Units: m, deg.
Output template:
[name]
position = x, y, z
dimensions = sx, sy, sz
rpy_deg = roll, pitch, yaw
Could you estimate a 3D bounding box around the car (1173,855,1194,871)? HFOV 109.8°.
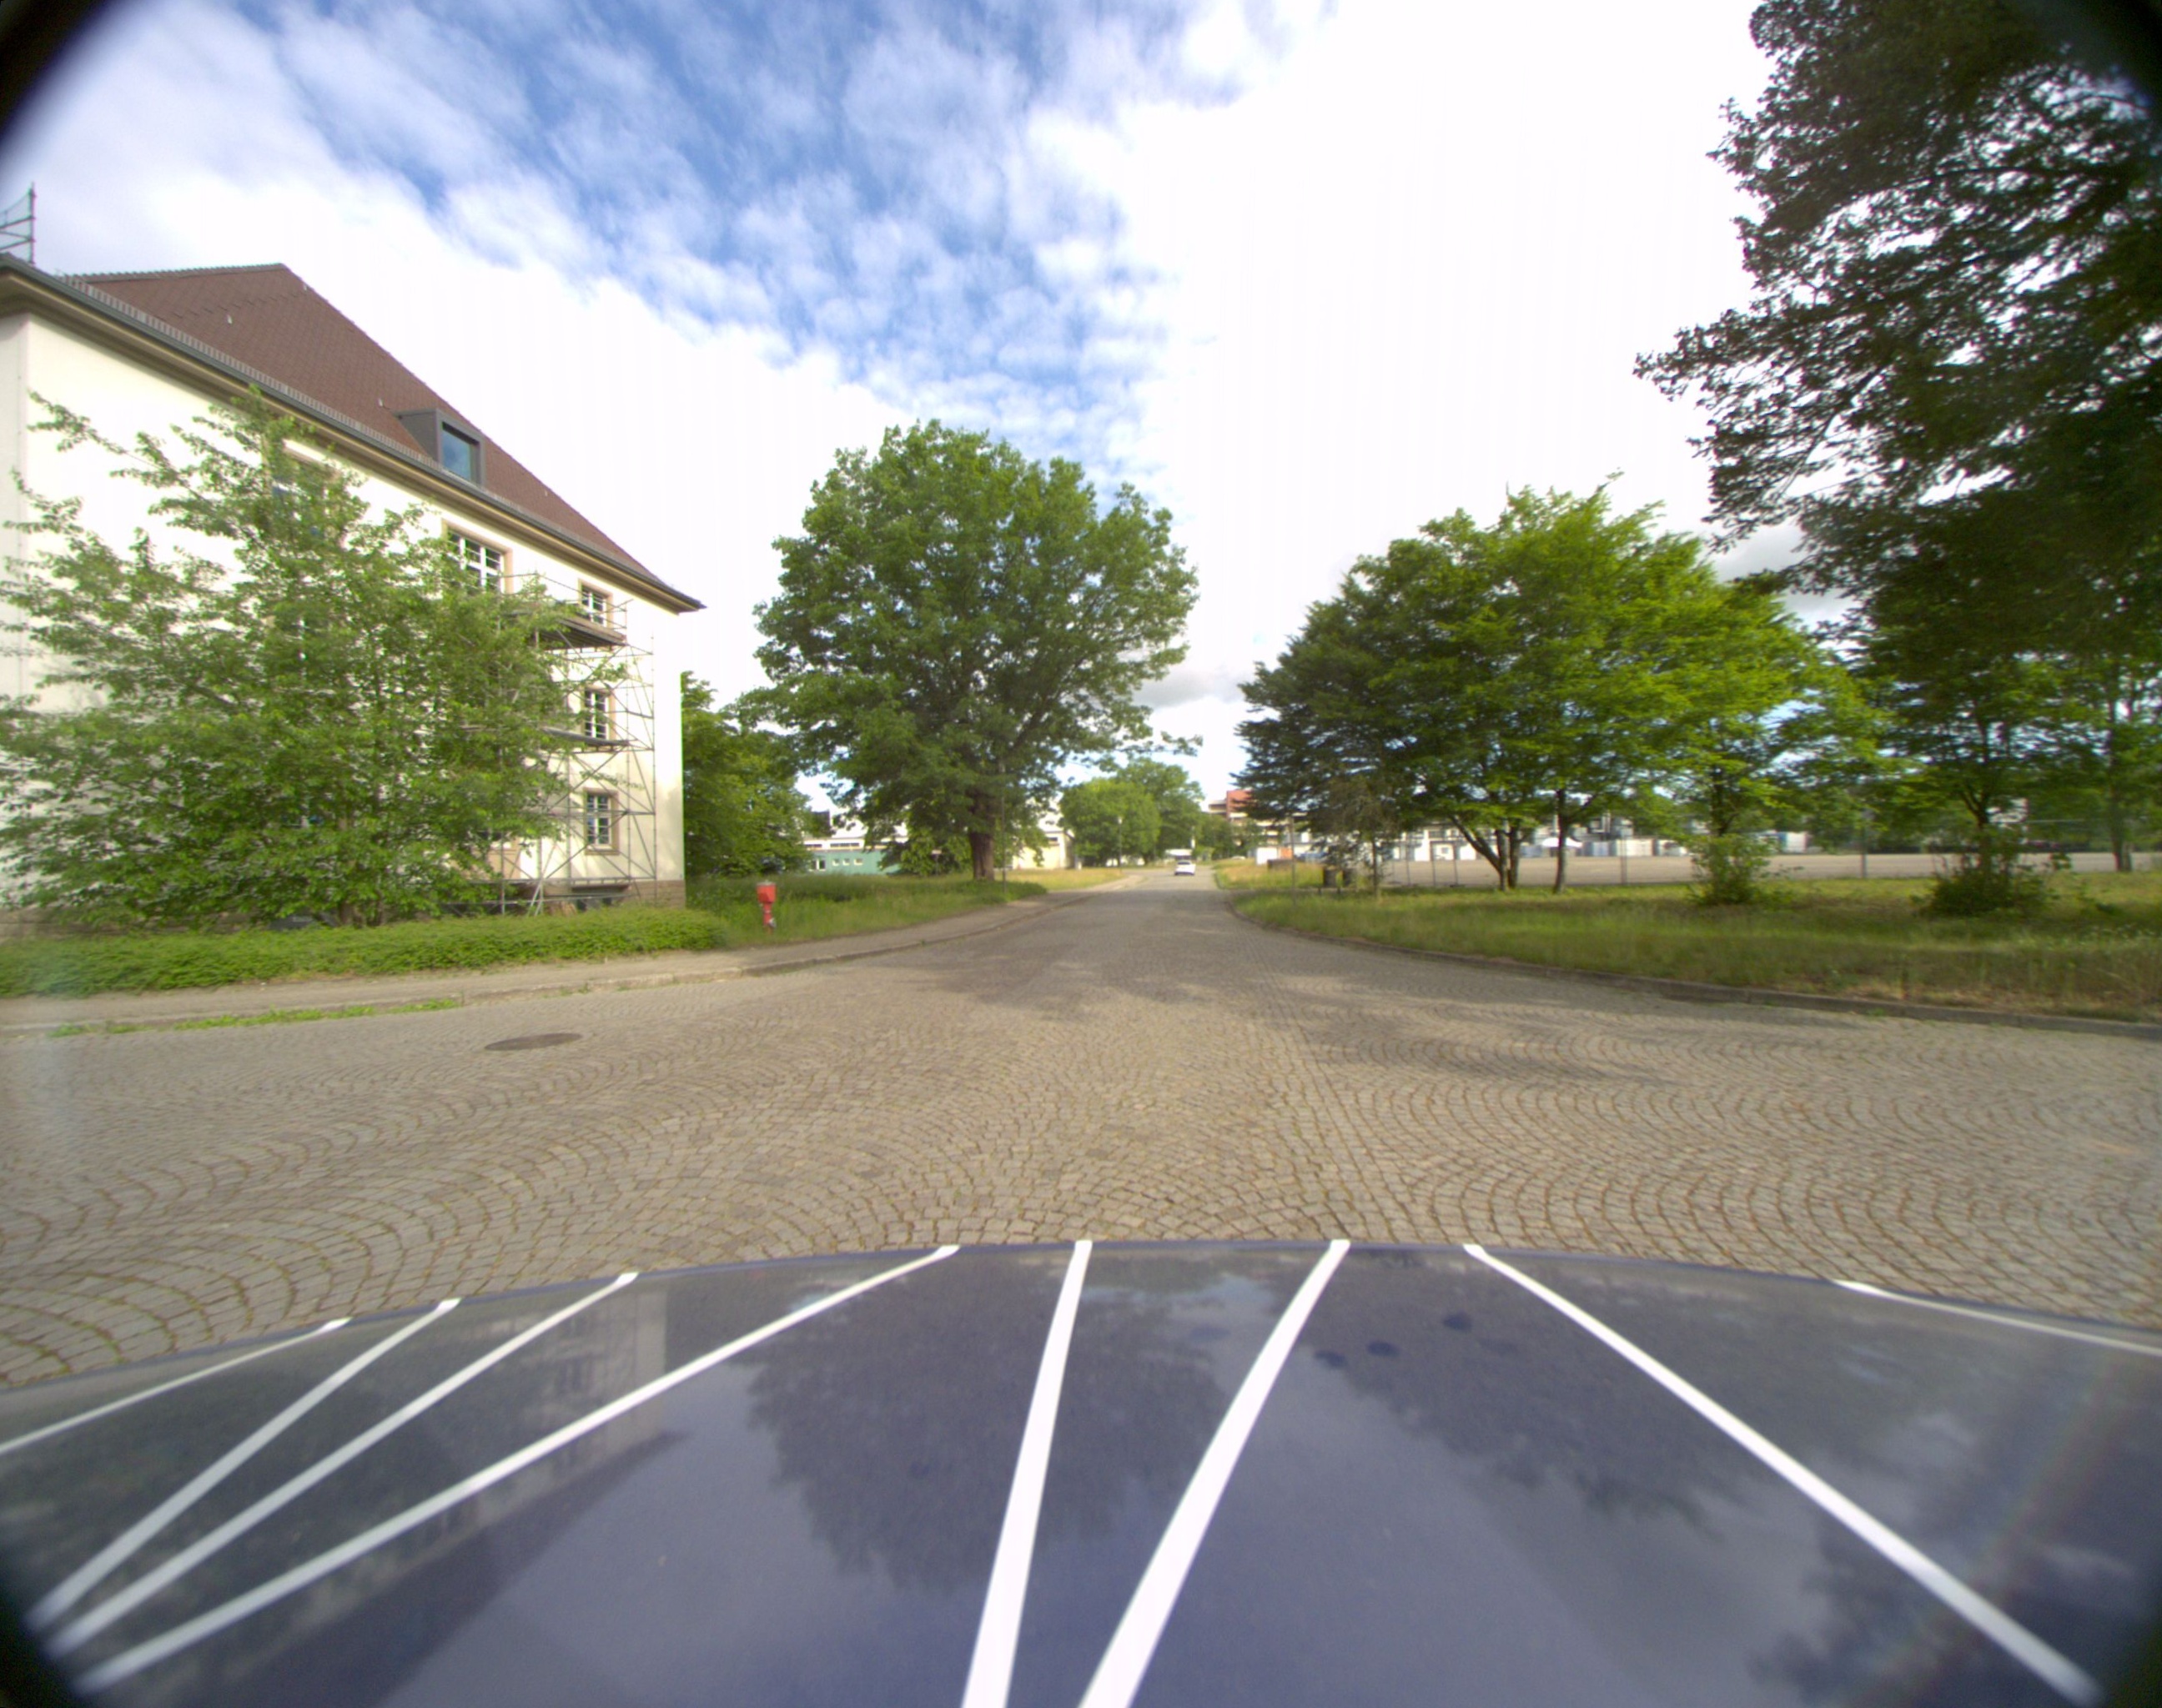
[car]
position = 9.740, 0.834, 72.052
dimensions = 1.852, 1.428, 4.709
rpy_deg = -2, 0, 9
